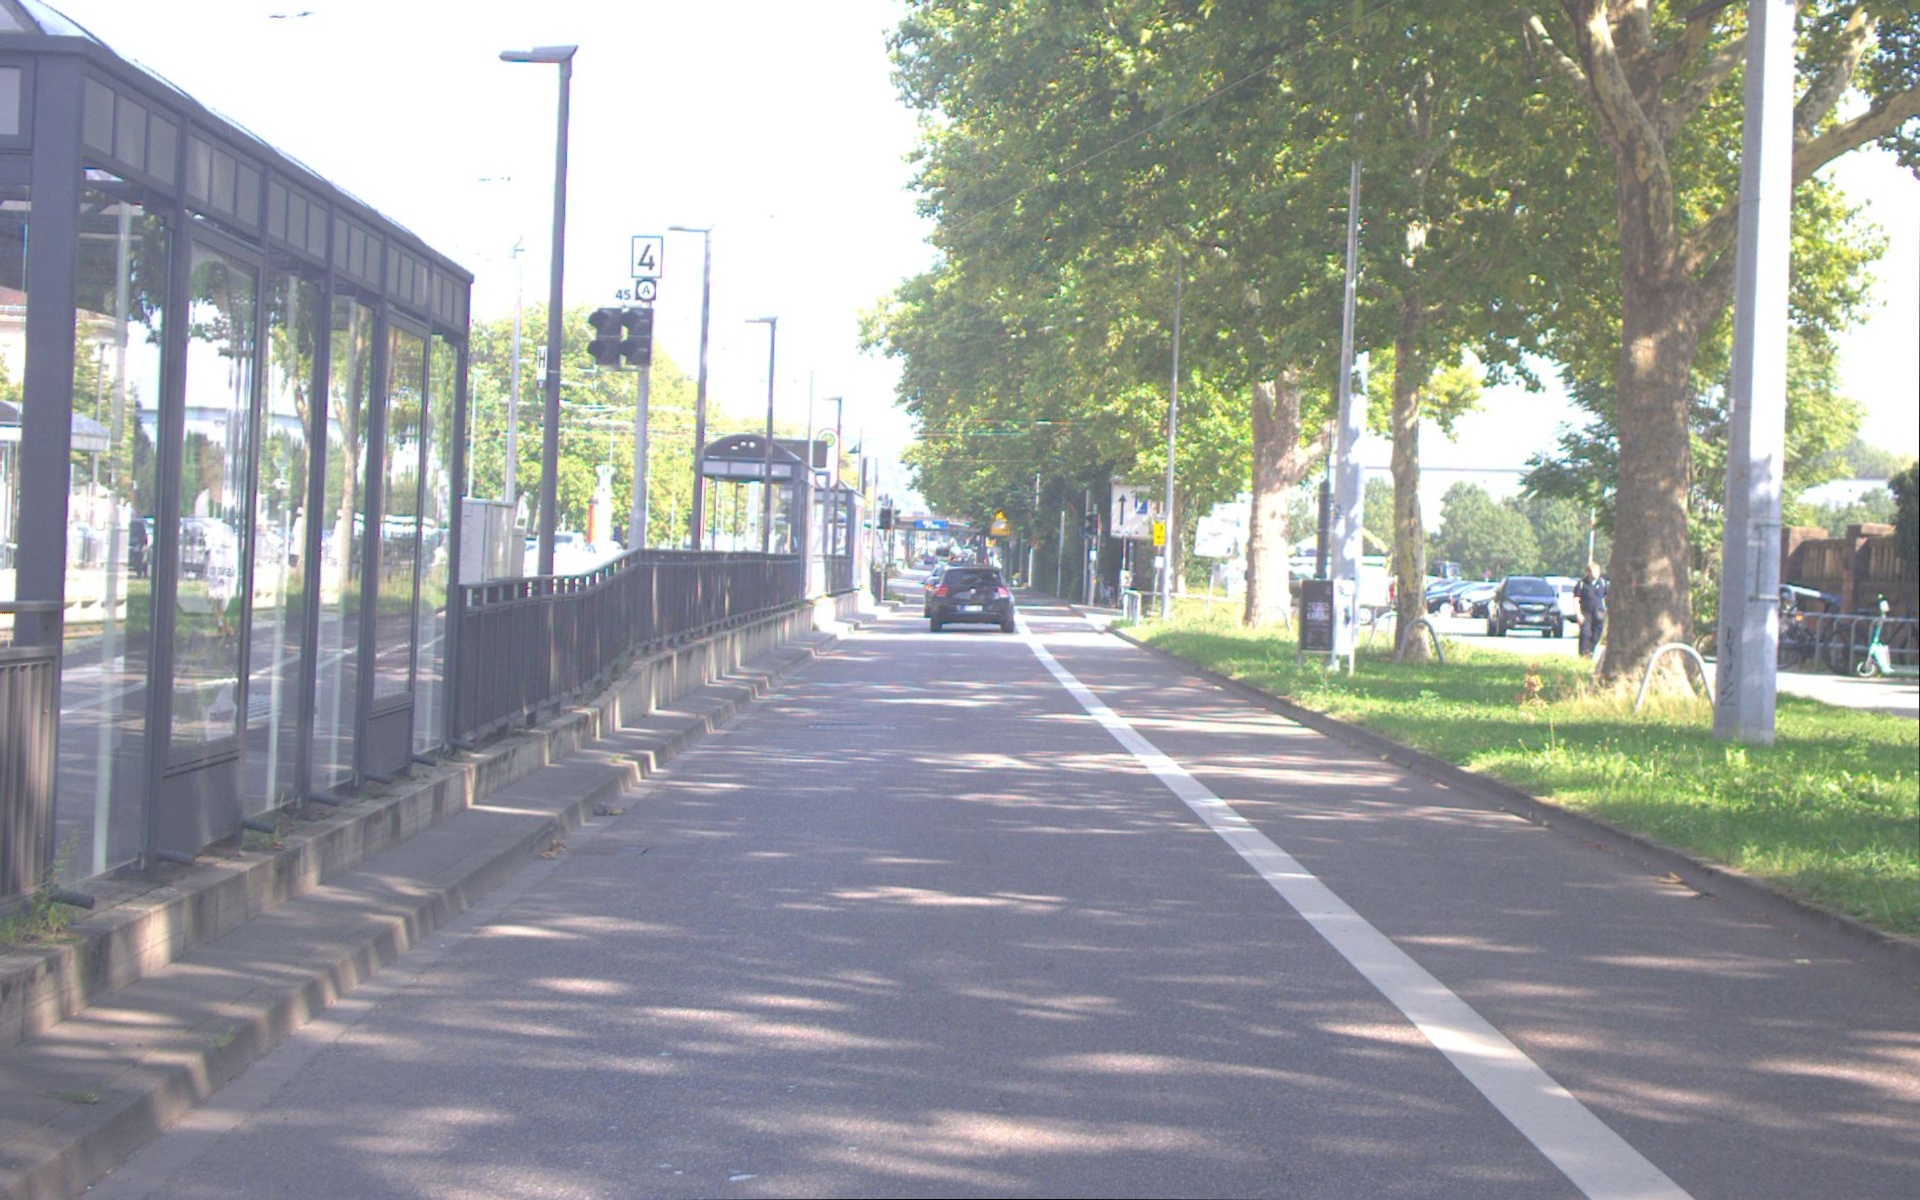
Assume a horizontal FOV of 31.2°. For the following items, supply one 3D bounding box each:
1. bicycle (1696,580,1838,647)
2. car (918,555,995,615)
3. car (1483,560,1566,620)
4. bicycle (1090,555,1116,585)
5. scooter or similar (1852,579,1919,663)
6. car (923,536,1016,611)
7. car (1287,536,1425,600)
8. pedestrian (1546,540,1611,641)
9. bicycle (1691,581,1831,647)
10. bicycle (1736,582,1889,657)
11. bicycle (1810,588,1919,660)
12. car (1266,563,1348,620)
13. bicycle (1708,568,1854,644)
[{"bbox_3d":[13.210,0.217,56.312,2.173,1.073,0.743,0,1,4],"label":"bicycle"},{"bbox_3d":[-0.115,-0.420,92.662,1.973,1.532,4.000,-1,1,-1],"label":"car"},{"bbox_3d":[15.489,-0.294,94.438,1.607,1.570,3.796,1,1,0],"label":"car"},{"bbox_3d":[5.069,-1.081,122.104,0.610,1.018,2.403,2,1,-4],"label":"bicycle"},{"bbox_3d":[13.748,0.305,49.794,1.506,1.187,0.538,1,0,4],"label":"scooter or similar"},{"bbox_3d":[0.171,-0.585,73.336,1.907,1.532,4.000,1,1,-1],"label":"car"},{"bbox_3d":[12.261,-0.987,106.583,4.104,1.912,1.847,1,1,3],"label":"car"},{"bbox_3d":[9.424,-0.150,52.402,0.783,1.510,0.787,2,1,0],"label":"pedestrian"},{"bbox_3d":[13.300,0.233,57.128,2.173,1.073,0.743,0,1,4],"label":"bicycle"},{"bbox_3d":[13.412,0.303,54.102,2.173,1.073,0.743,2,1,-2],"label":"bicycle"},{"bbox_3d":[13.603,0.362,50.791,1.867,1.003,0.735,2,1,-2],"label":"bicycle"},{"bbox_3d":[9.388,-0.246,93.265,1.728,1.443,4.551,1,1,0],"label":"car"},{"bbox_3d":[13.987,0.097,58.623,2.244,1.272,0.999,0,0,-1],"label":"bicycle"}]
